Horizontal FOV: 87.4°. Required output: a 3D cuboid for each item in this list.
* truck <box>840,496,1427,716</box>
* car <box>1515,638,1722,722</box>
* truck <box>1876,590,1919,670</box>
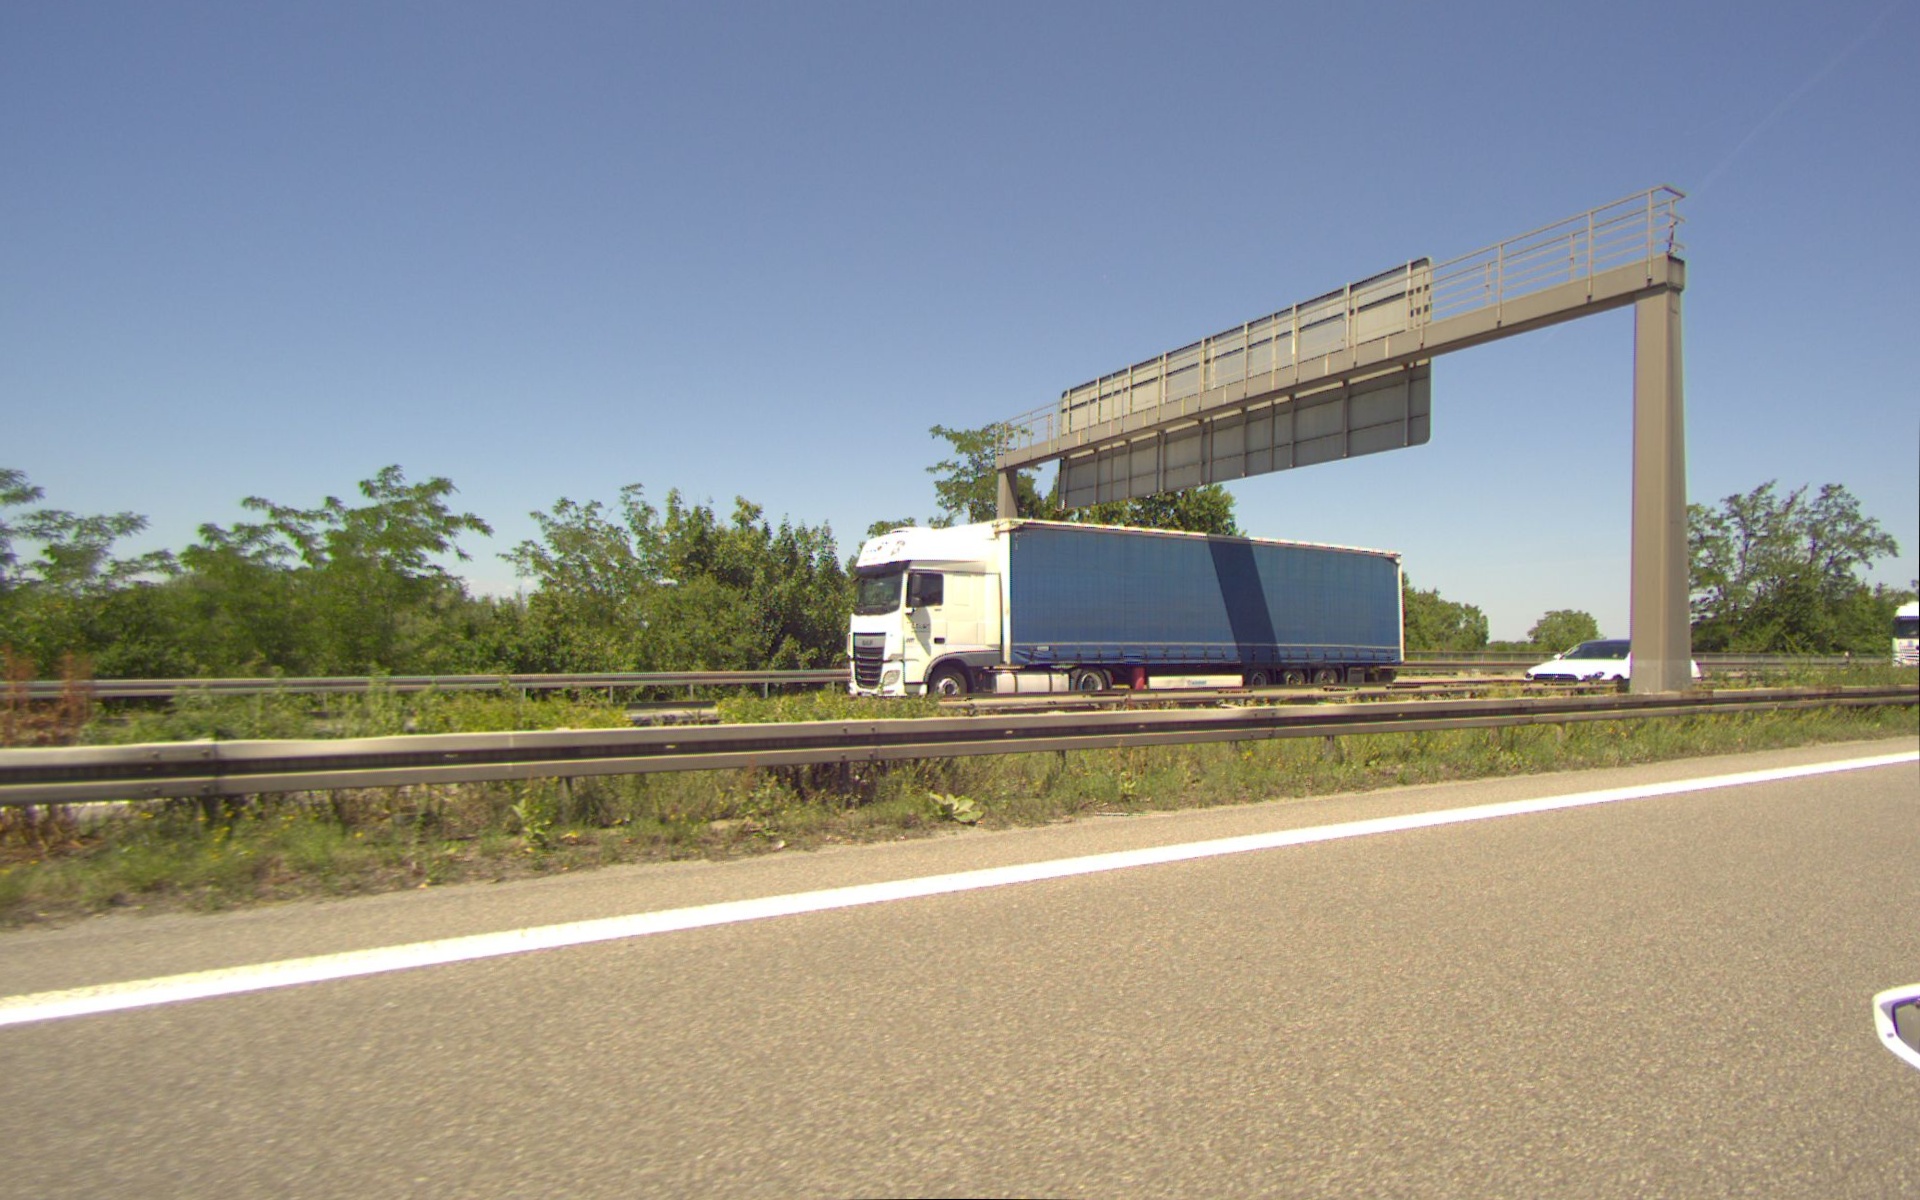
[{"bbox_3d":[5.381,0.350,25.765,17.122,4.447,2.699,2,-2,-30],"label":"truck"},{"bbox_3d":[15.317,1.772,23.300,5.015,1.757,1.984,2,-2,-30],"label":"car"},{"bbox_3d":[57.090,1.788,56.957,16.832,4.144,2.946,2,-2,-31],"label":"truck"}]
